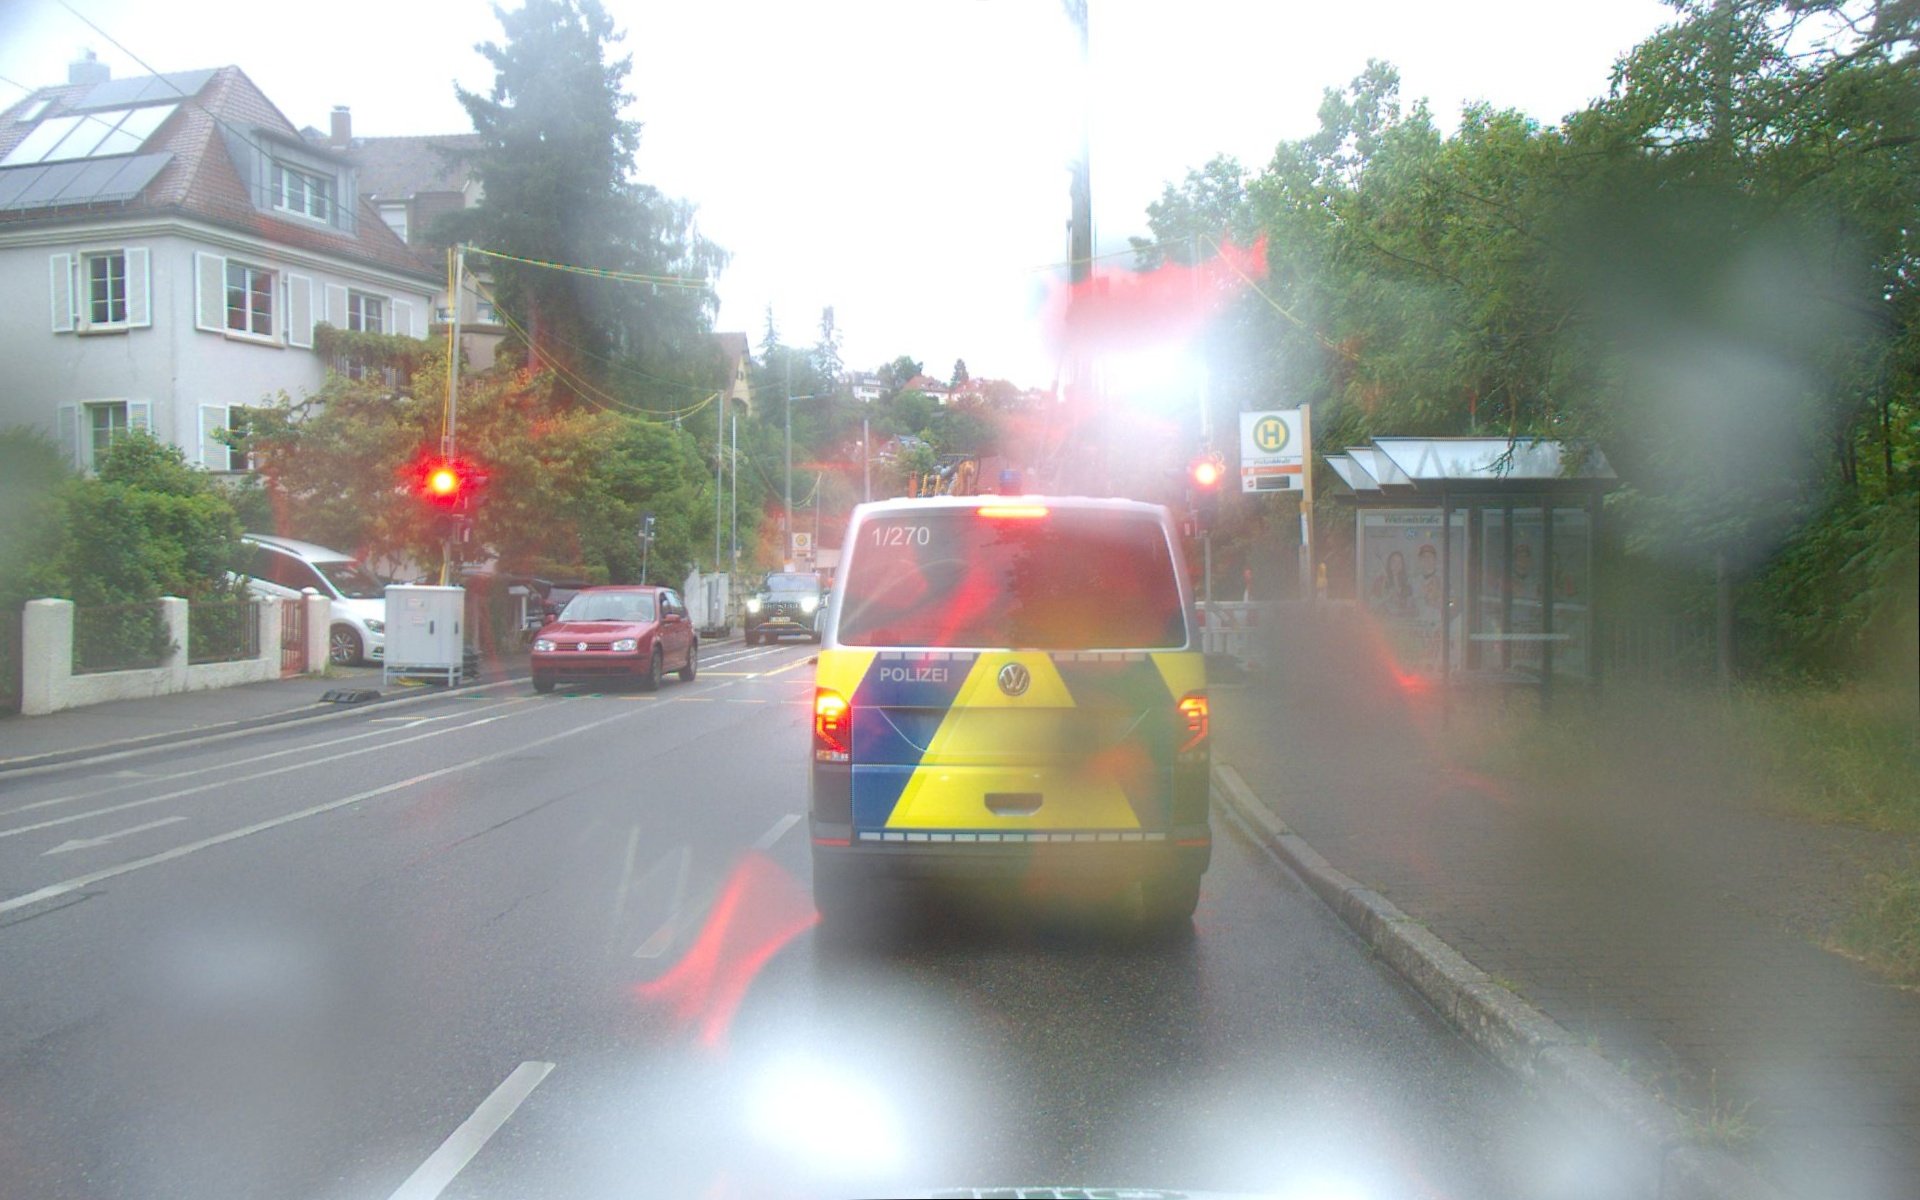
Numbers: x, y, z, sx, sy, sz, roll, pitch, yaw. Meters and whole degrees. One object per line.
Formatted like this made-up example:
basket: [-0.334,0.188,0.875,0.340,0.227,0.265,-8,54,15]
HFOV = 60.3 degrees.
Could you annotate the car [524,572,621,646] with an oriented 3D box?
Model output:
car: [-8.910,0.174,37.830,1.739,1.512,3.721,1,2,-20]

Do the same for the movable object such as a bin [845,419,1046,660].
movable object such as a bin: [-0.165,-1.097,31.640,2.770,4.250,4.384,1,0,14]

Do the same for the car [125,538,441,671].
car: [-11.208,0.055,27.492,4.532,2.042,1.902,1,0,11]

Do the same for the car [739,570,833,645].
car: [-4.349,0.159,41.961,1.939,1.778,4.553,1,1,-1]

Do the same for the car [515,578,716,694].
car: [-4.840,0.453,23.776,1.727,1.488,3.889,1,1,5]

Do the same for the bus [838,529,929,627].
bus: [-3.111,-0.889,70.688,2.782,3.783,12.009,1,0,2]

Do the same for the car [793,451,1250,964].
car: [0.228,0.432,8.823,1.855,2.086,3.999,1,0,-1]
